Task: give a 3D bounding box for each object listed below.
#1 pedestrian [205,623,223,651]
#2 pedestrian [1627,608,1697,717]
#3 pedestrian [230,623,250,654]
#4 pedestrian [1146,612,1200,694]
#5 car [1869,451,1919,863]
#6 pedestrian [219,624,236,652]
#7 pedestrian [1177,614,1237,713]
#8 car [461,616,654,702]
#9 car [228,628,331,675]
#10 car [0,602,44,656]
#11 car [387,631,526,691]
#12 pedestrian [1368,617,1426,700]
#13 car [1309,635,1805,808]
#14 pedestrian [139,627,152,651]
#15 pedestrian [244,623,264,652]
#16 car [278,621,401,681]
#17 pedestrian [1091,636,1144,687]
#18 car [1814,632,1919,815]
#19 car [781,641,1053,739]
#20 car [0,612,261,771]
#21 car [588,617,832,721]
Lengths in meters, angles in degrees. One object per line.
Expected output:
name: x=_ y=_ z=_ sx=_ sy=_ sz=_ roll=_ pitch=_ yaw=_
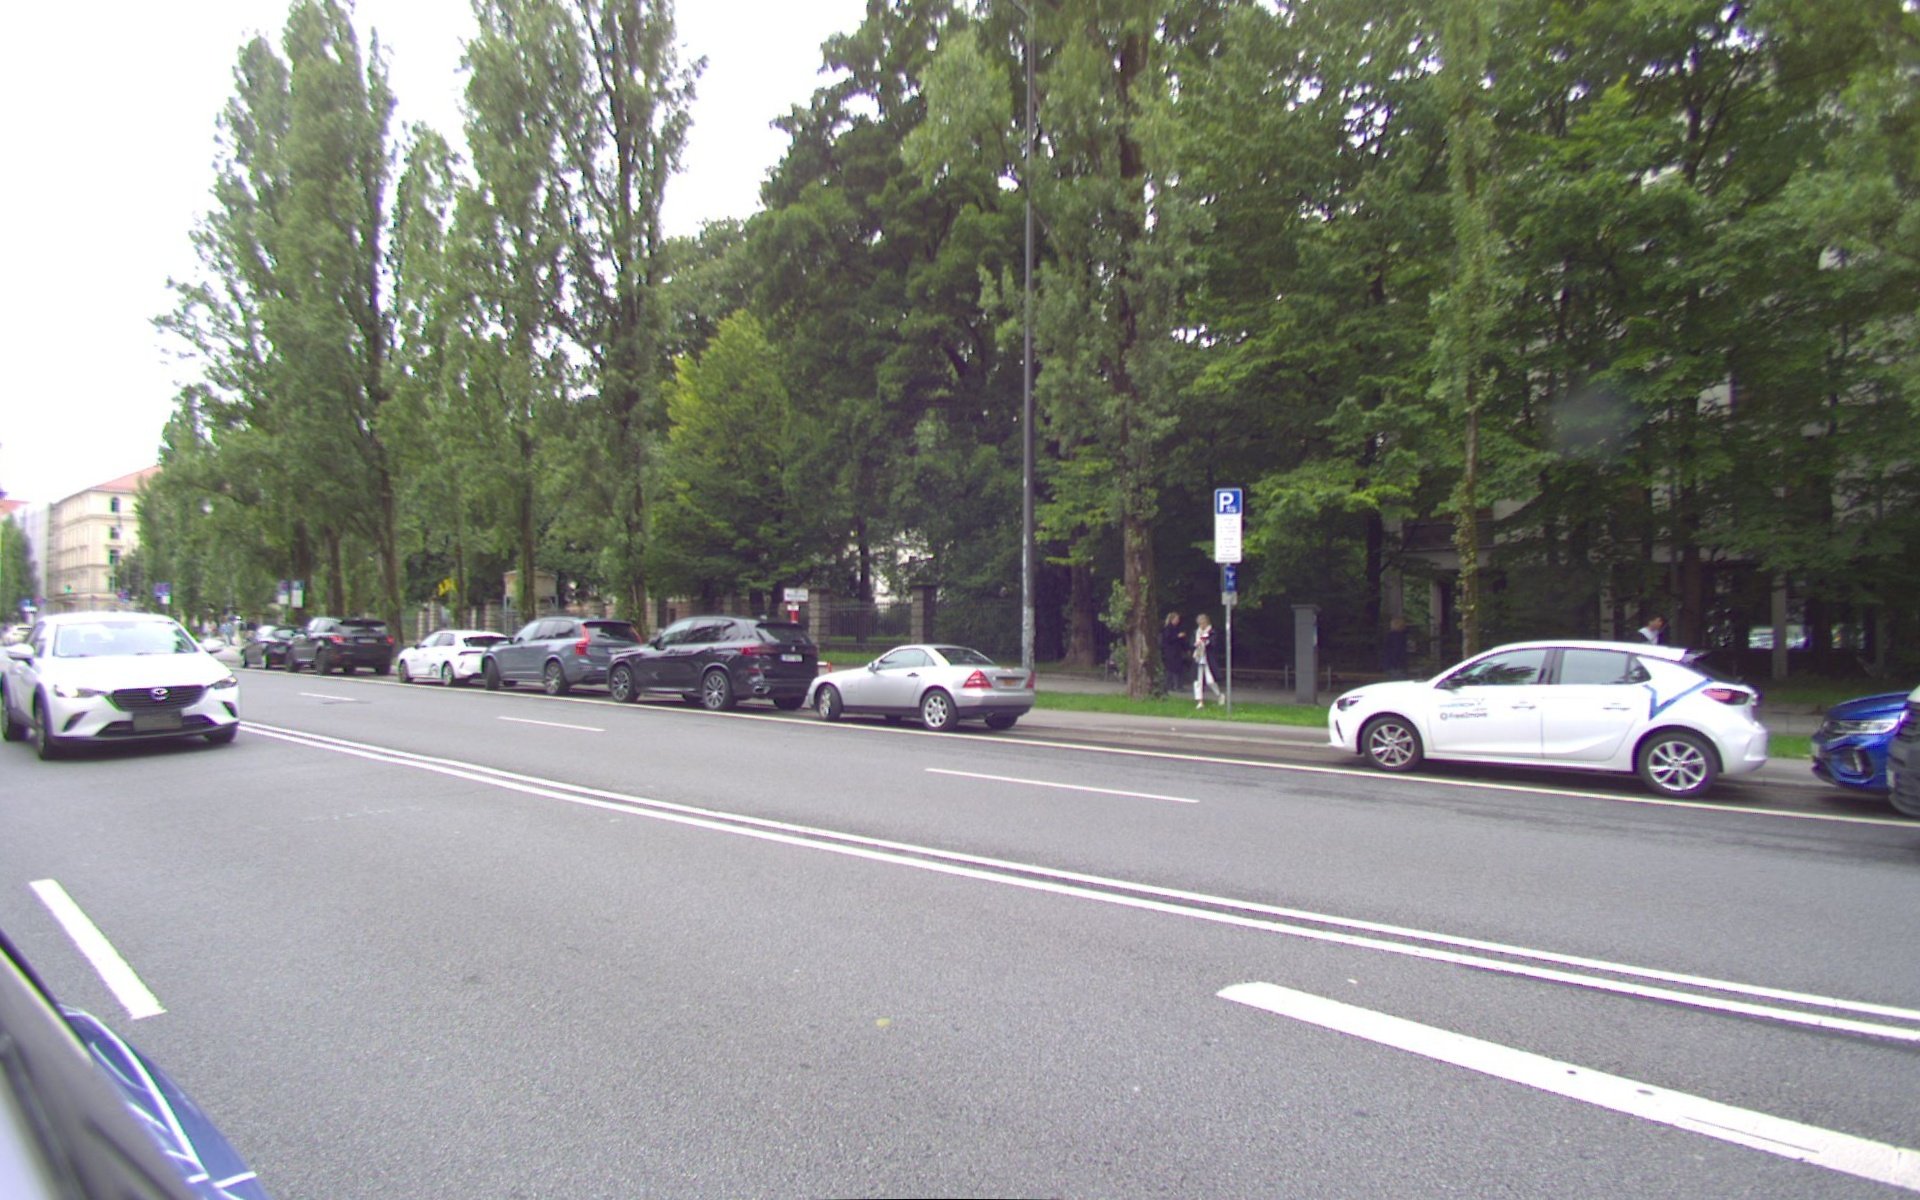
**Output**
pedestrian: x=-45.983 y=2.302 z=62.364 sx=0.884 sy=1.713 sz=0.681 roll=-2 pitch=-3 yaw=39
pedestrian: x=11.903 y=1.035 z=17.156 sx=0.889 sy=1.785 sz=0.729 roll=-1 pitch=-1 yaw=41
pedestrian: x=-43.869 y=2.320 z=61.618 sx=1.092 sy=1.847 sz=0.702 roll=-2 pitch=-2 yaw=39
pedestrian: x=4.651 y=1.141 z=22.092 sx=0.956 sy=1.755 sz=0.659 roll=-2 pitch=-2 yaw=41
car: x=9.077 y=0.329 z=4.914 sx=6.751 sy=2.502 sz=2.205 roll=-2 pitch=-4 yaw=39
pedestrian: x=-45.569 y=2.365 z=62.939 sx=0.910 sy=1.729 sz=0.653 roll=-2 pitch=-3 yaw=39
pedestrian: x=4.305 y=1.091 z=17.641 sx=0.751 sy=1.677 sz=0.730 roll=-2 pitch=-3 yaw=41
car: x=-9.458 y=1.347 z=23.581 sx=5.175 sy=1.803 sz=1.890 roll=-1 pitch=-5 yaw=40
car: x=-24.560 y=1.849 z=36.483 sx=4.386 sy=1.596 sz=1.924 roll=-2 pitch=-4 yaw=41
car: x=-64.306 y=1.989 z=69.180 sx=4.487 sy=1.338 sz=1.777 roll=37 pitch=11 yaw=35
car: x=-13.371 y=1.590 z=26.775 sx=4.269 sy=1.470 sz=1.687 roll=-1 pitch=-4 yaw=40
pedestrian: x=8.867 y=1.162 z=20.532 sx=0.881 sy=1.611 sz=0.729 roll=-1 pitch=-1 yaw=41
car: x=6.076 y=1.132 z=10.641 sx=4.228 sy=1.463 sz=1.753 roll=-1 pitch=-4 yaw=39
pedestrian: x=-58.475 y=2.811 z=72.654 sx=0.581 sy=1.744 sz=0.527 roll=-1 pitch=-2 yaw=29
pedestrian: x=-43.395 y=2.284 z=62.182 sx=1.092 sy=1.786 sz=0.702 roll=-1 pitch=-2 yaw=39
car: x=-19.860 y=1.614 z=32.316 sx=4.798 sy=1.800 sz=2.024 roll=-2 pitch=-4 yaw=42
pedestrian: x=3.927 y=1.511 z=25.231 sx=0.922 sy=1.187 sz=0.957 roll=-1 pitch=-1 yaw=40
car: x=9.172 y=1.011 z=8.021 sx=3.581 sy=1.462 sz=1.692 roll=-1 pitch=-4 yaw=39
car: x=-0.776 y=1.363 z=16.217 sx=4.230 sy=1.344 sz=1.808 roll=-2 pitch=-5 yaw=40
car: x=-9.910 y=0.952 z=11.880 sx=4.007 sy=1.537 sz=1.885 roll=-2 pitch=-2 yaw=41
car: x=-4.924 y=1.285 z=19.604 sx=4.888 sy=1.781 sz=1.922 roll=-1 pitch=-5 yaw=38
